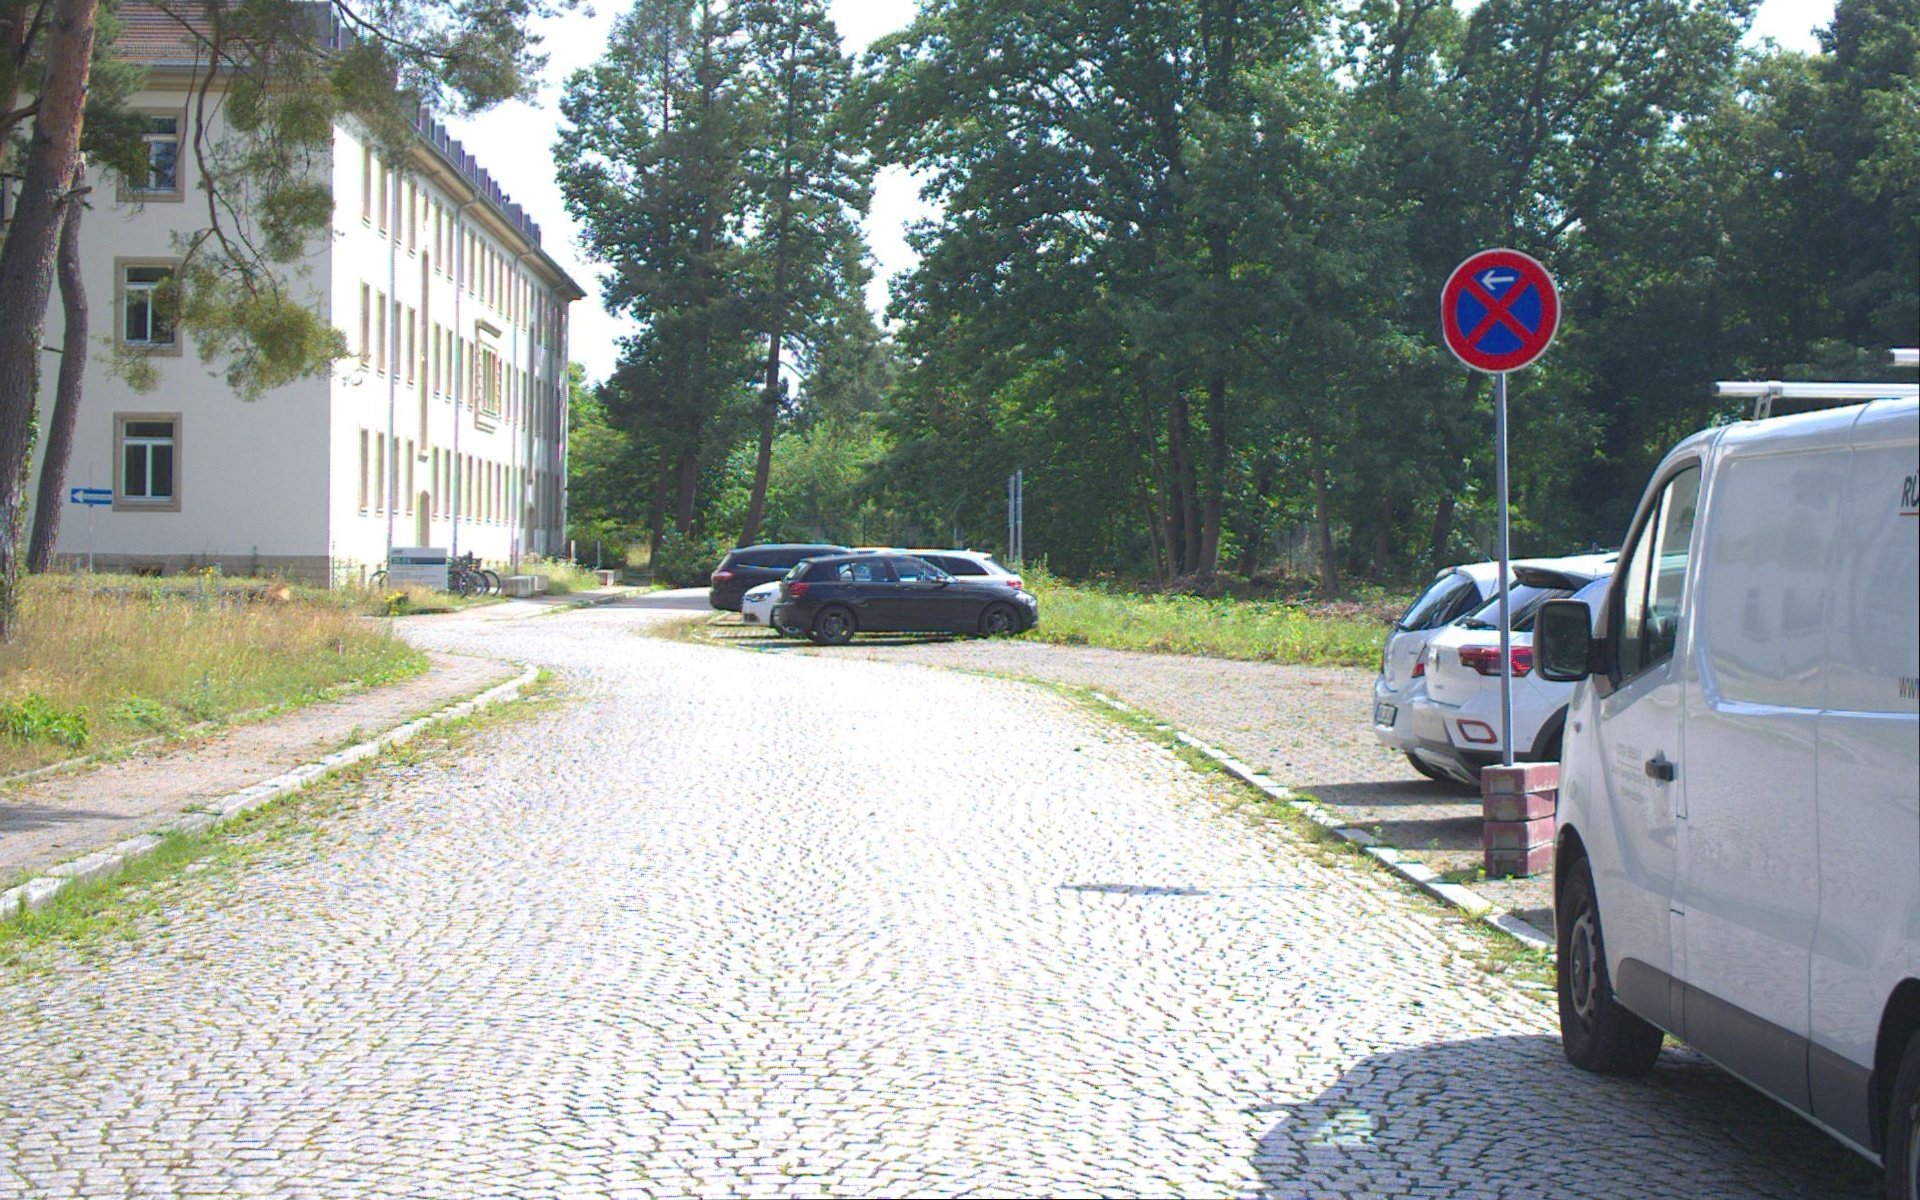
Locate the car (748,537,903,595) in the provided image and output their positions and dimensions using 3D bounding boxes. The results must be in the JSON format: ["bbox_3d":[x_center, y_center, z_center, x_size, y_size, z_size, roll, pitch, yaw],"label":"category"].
[{"bbox_3d":[-3.670,-0.917,94.336,4.187,1.538,1.820,-1,0,0],"label":"car"}]

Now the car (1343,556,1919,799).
[{"bbox_3d":[4.650,0.466,22.303,4.041,1.459,1.704,-1,1,-4],"label":"car"}]

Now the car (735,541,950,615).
[{"bbox_3d":[-2.459,-0.450,71.548,4.398,1.479,1.766,-1,0,-3],"label":"car"}]

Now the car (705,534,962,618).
[{"bbox_3d":[-2.457,-0.457,66.231,4.852,1.547,1.880,-1,0,-3],"label":"car"}]

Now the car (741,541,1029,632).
[{"bbox_3d":[-1.315,-0.242,58.914,4.861,1.467,1.875,-1,2,-3],"label":"car"}]

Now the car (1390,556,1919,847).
[{"bbox_3d":[4.557,0.519,19.235,3.986,1.501,1.747,-1,1,-4],"label":"car"}]

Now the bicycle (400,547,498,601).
[{"bbox_3d":[-12.193,-0.618,82.033,2.222,1.256,0.623,1,1,4],"label":"bicycle"}]

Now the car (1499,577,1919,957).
[{"bbox_3d":[4.722,0.642,14.736,4.453,1.470,1.746,-1,1,-6],"label":"car"}]

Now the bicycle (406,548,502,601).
[{"bbox_3d":[-12.211,-0.615,83.008,2.222,1.256,0.623,1,1,0],"label":"bicycle"}]

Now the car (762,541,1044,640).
[{"bbox_3d":[-0.942,-0.175,55.792,4.323,1.495,1.830,-1,2,-10],"label":"car"}]

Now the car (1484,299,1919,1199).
[{"bbox_3d":[2.744,0.432,8.466,1.914,2.046,5.679,1,1,-1],"label":"car"}]
